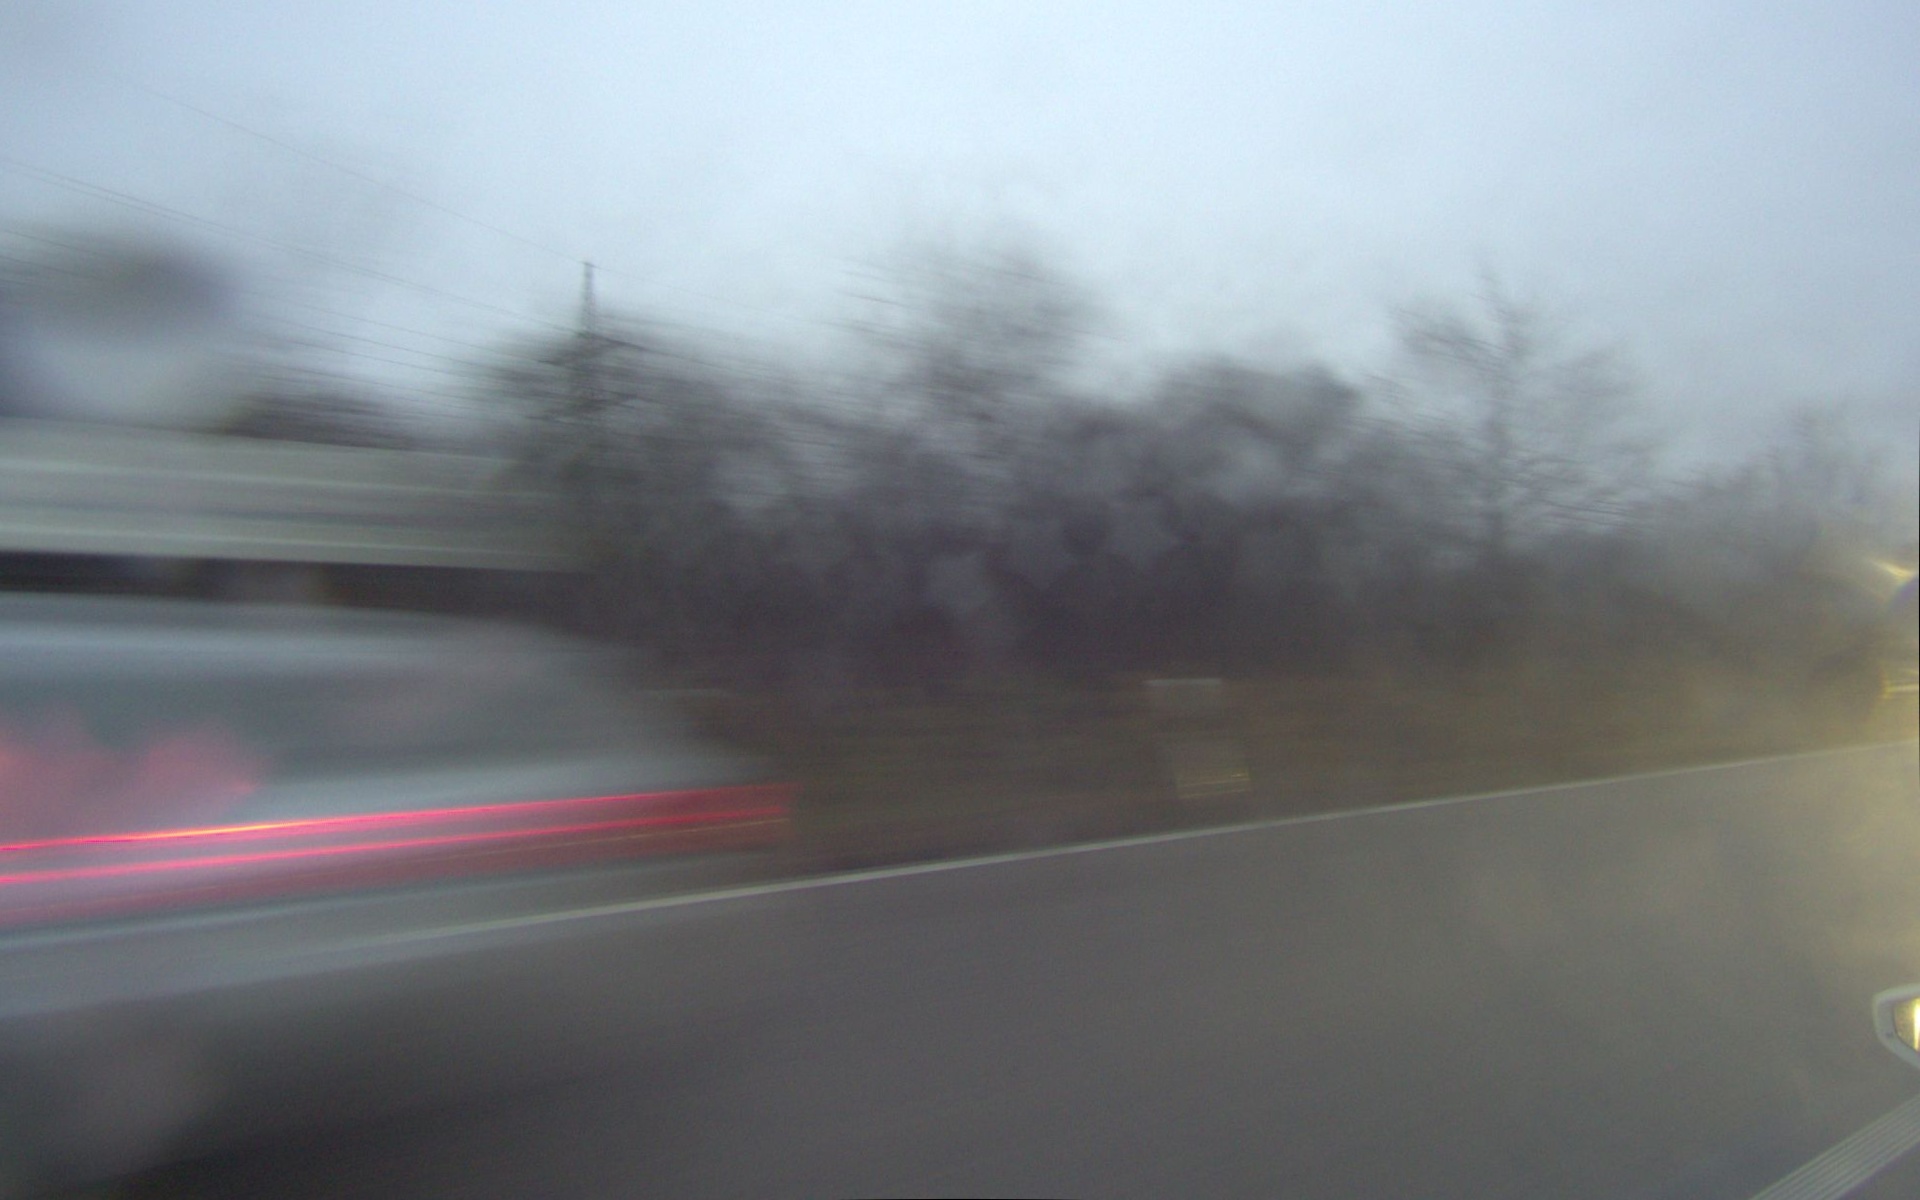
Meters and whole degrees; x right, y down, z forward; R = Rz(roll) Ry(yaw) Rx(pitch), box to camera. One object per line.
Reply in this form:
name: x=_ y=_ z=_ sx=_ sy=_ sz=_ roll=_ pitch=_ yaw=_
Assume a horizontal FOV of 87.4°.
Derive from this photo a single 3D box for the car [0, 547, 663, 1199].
car: x=-2.844 y=0.651 z=1.987 sx=4.037 sy=1.550 sz=1.683 roll=2 pitch=0 yaw=-30
